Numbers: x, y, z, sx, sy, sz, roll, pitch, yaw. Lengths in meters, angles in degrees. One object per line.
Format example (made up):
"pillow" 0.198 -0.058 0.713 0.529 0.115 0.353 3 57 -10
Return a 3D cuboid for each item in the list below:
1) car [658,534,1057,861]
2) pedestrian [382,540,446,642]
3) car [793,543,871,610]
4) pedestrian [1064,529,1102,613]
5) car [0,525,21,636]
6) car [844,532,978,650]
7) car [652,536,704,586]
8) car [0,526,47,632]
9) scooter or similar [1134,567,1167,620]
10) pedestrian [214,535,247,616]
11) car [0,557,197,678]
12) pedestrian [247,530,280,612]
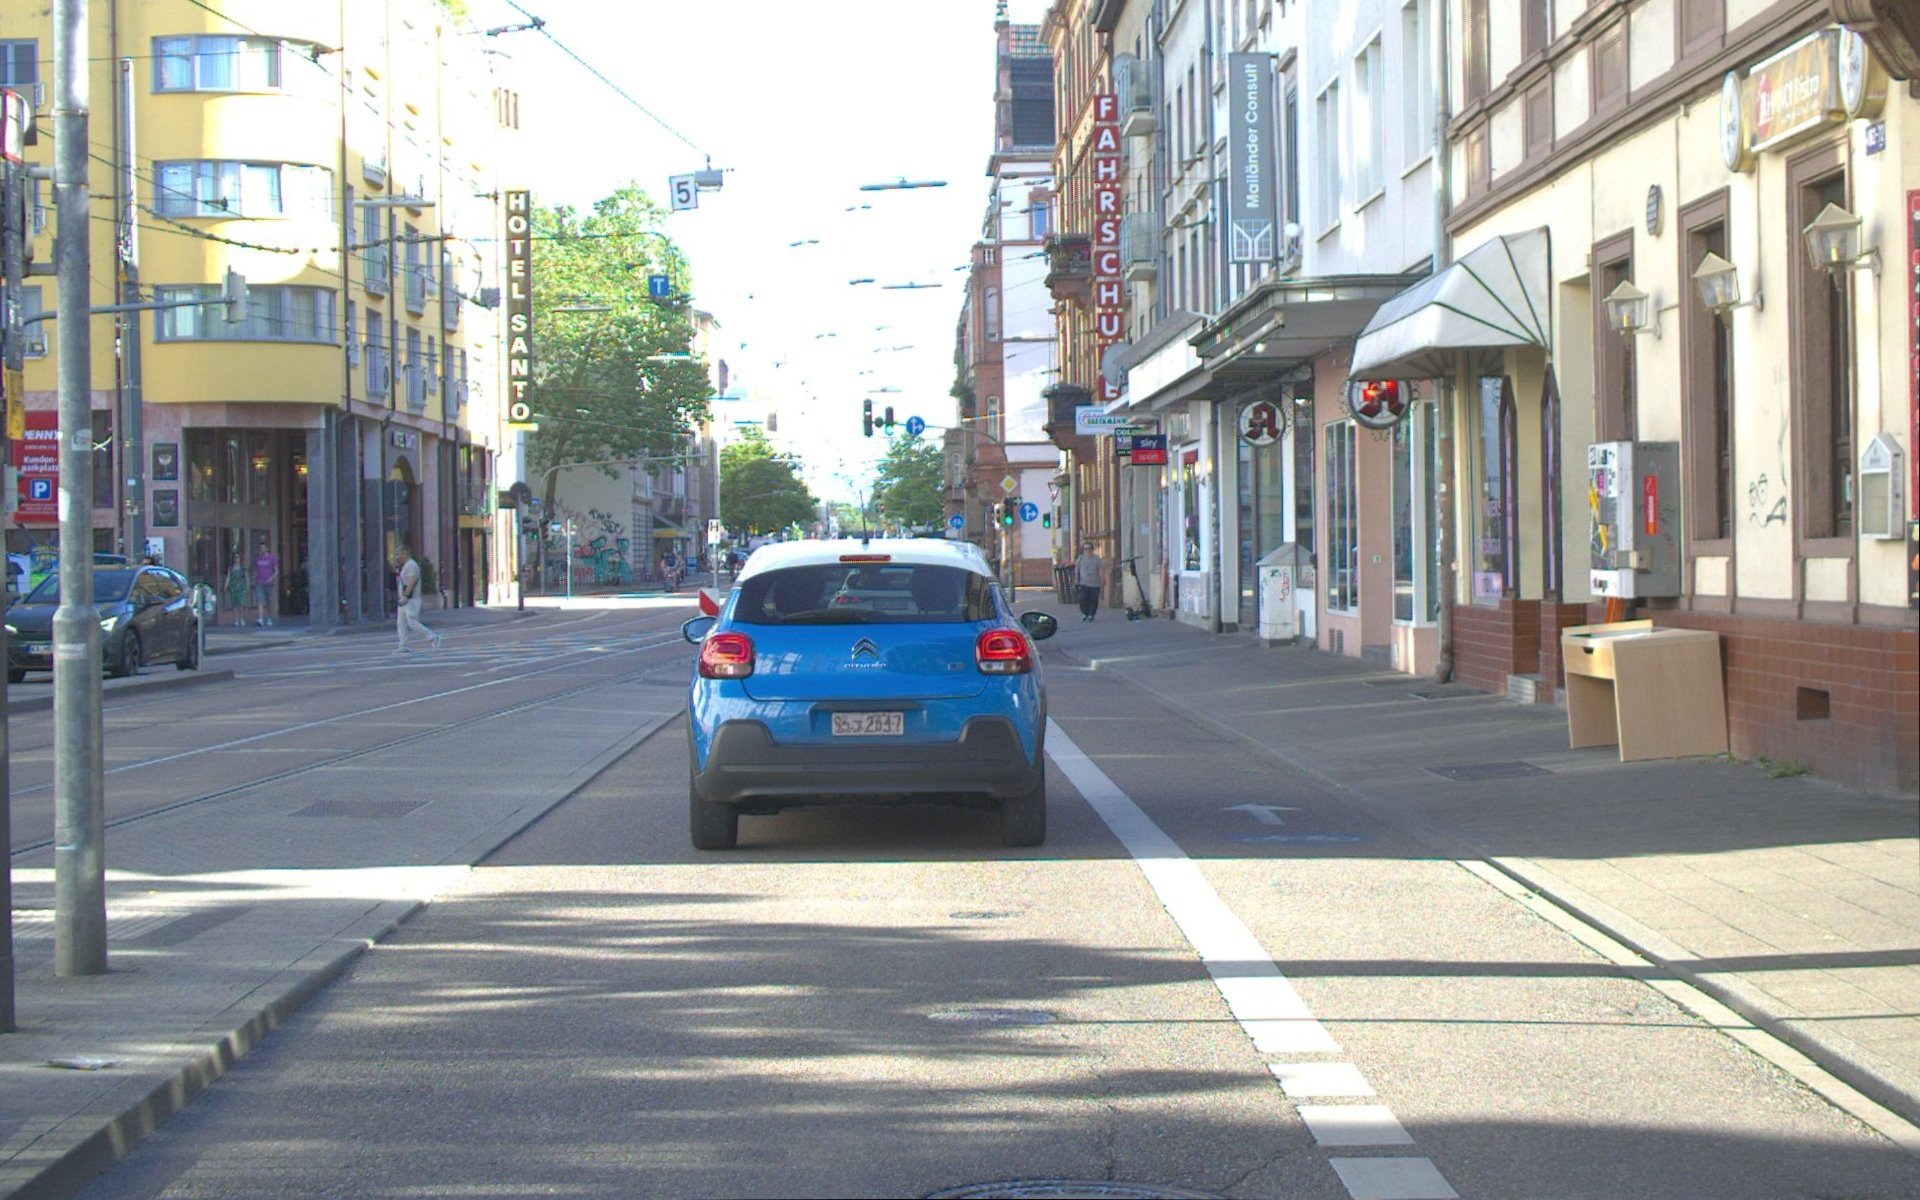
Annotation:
"car" -0.487 0.411 17.361 1.781 1.446 3.654 1 1 -1
"pedestrian" -8.914 -0.157 56.124 0.838 1.648 0.697 -1 1 -29
"car" -3.470 -0.624 93.836 1.993 1.737 4.000 1 0 -1
"pedestrian" 2.442 -0.581 68.303 0.693 1.645 0.680 0 1 -2
"car" -18.047 -0.329 57.887 3.986 1.841 1.958 0 1 -4
"car" -0.766 -0.134 53.667 1.993 1.737 4.000 1 0 -1
"car" -11.866 -1.626 144.798 1.993 2.007 4.000 1 0 -3
"car" -18.333 -0.372 60.682 3.986 1.841 1.958 0 1 -4
"scooter or similar" 3.567 -0.125 64.376 0.512 0.956 1.851 0 1 0
"pedestrian" -16.565 -0.551 78.064 0.695 1.823 0.841 -1 1 -13
"car" -11.717 0.207 46.296 1.951 1.481 4.000 -2 1 0
"pedestrian" -15.801 -0.661 77.990 0.695 1.851 0.841 -1 1 -13
